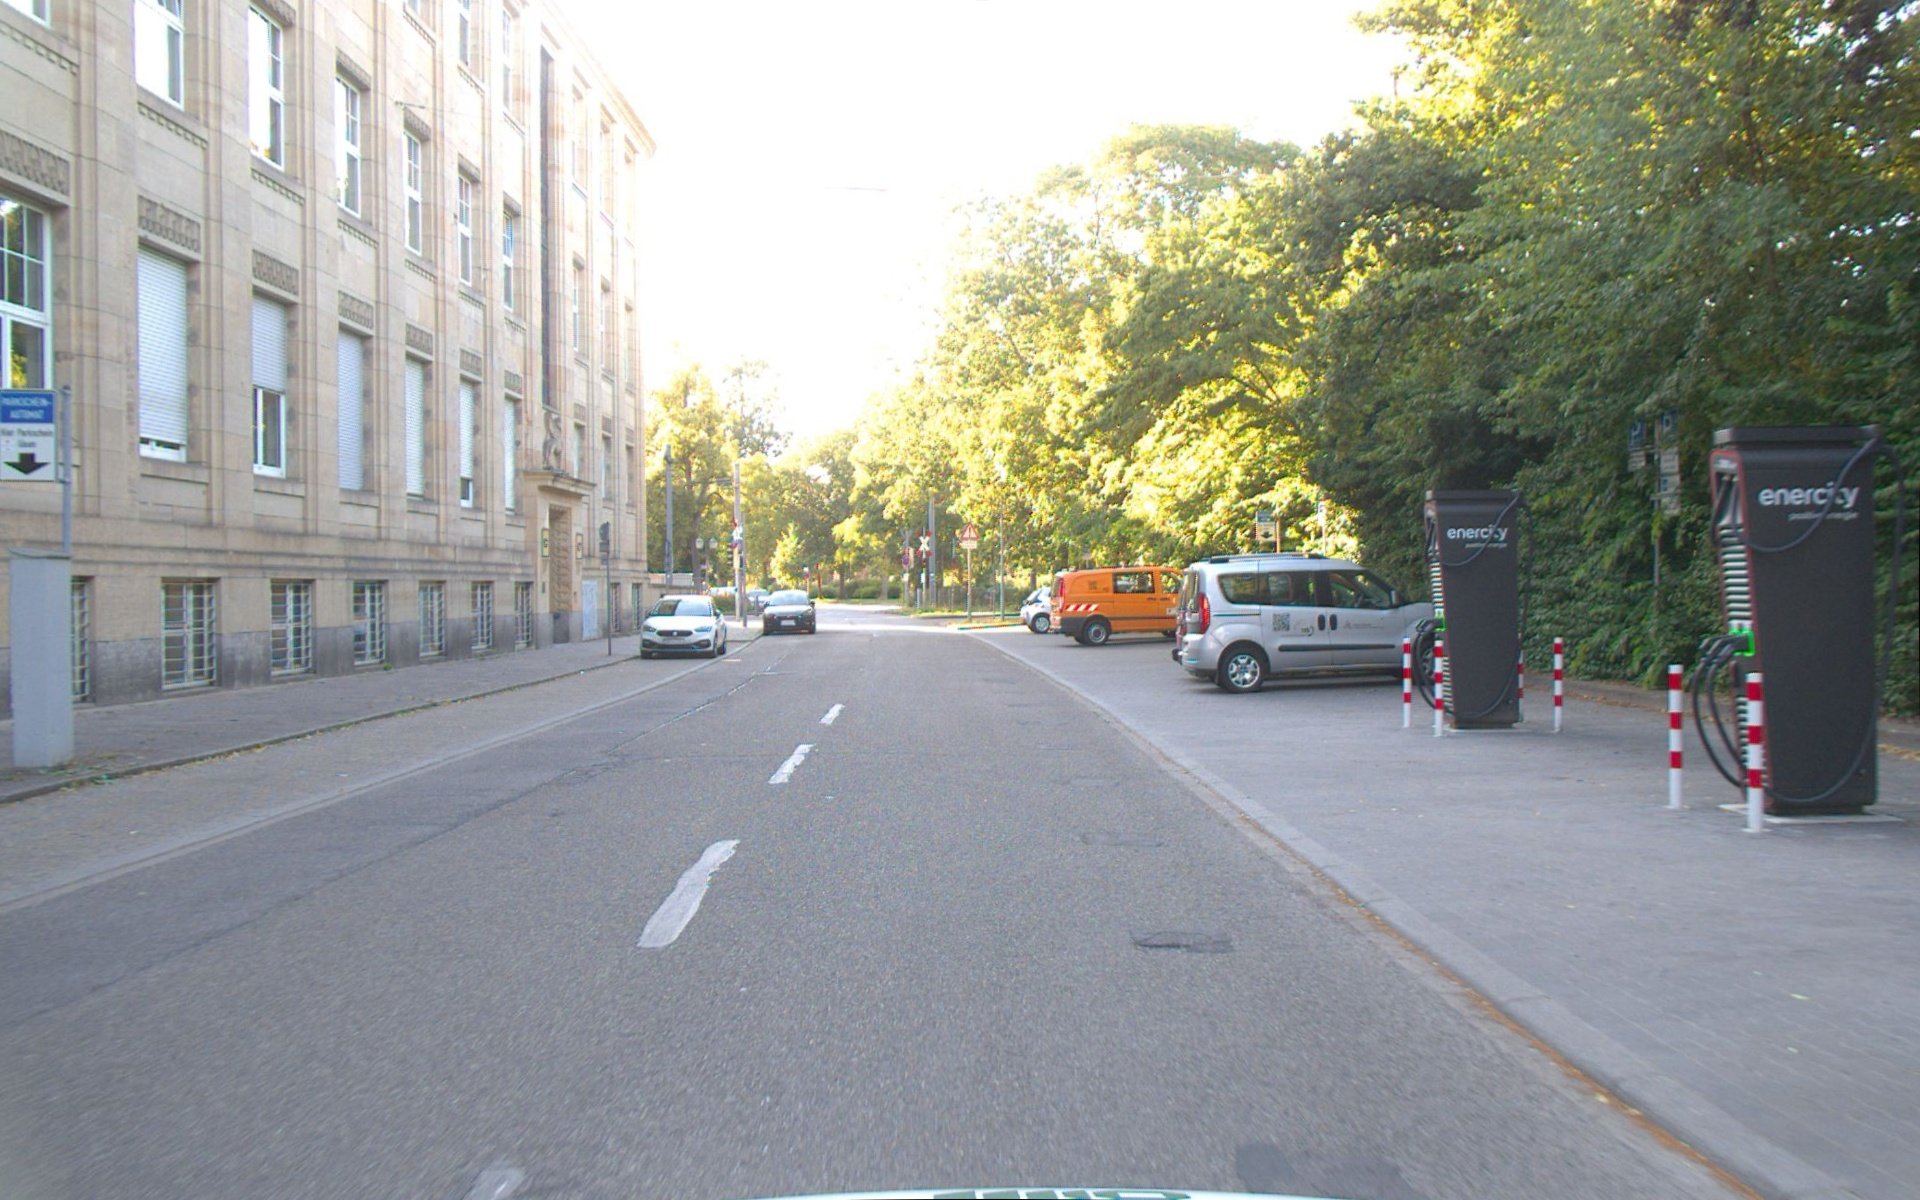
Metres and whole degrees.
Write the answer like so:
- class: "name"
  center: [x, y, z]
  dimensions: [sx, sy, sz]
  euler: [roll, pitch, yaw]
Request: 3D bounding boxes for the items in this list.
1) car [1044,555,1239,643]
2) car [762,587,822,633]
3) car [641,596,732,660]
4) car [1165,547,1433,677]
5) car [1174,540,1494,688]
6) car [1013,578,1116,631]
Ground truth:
- class: "car"
  center: [4.730, -0.041, 43.363]
  dimensions: [4.727, 2.048, 1.799]
  euler: [-3, 0, -7]
- class: "car"
  center: [-5.776, 0.305, 57.263]
  dimensions: [1.841, 1.492, 4.370]
  euler: [-1, 1, -3]
- class: "car"
  center: [-6.538, 0.637, 39.915]
  dimensions: [1.693, 1.421, 4.370]
  euler: [-1, 0, -3]
- class: "car"
  center: [5.399, 0.184, 26.660]
  dimensions: [3.941, 1.867, 1.614]
  euler: [-2, 0, 0]
- class: "car"
  center: [5.333, 0.192, 24.021]
  dimensions: [4.142, 1.892, 2.000]
  euler: [-2, 0, 0]
- class: "car"
  center: [3.394, 0.139, 53.863]
  dimensions: [3.084, 1.529, 1.538]
  euler: [-3, 0, -7]
